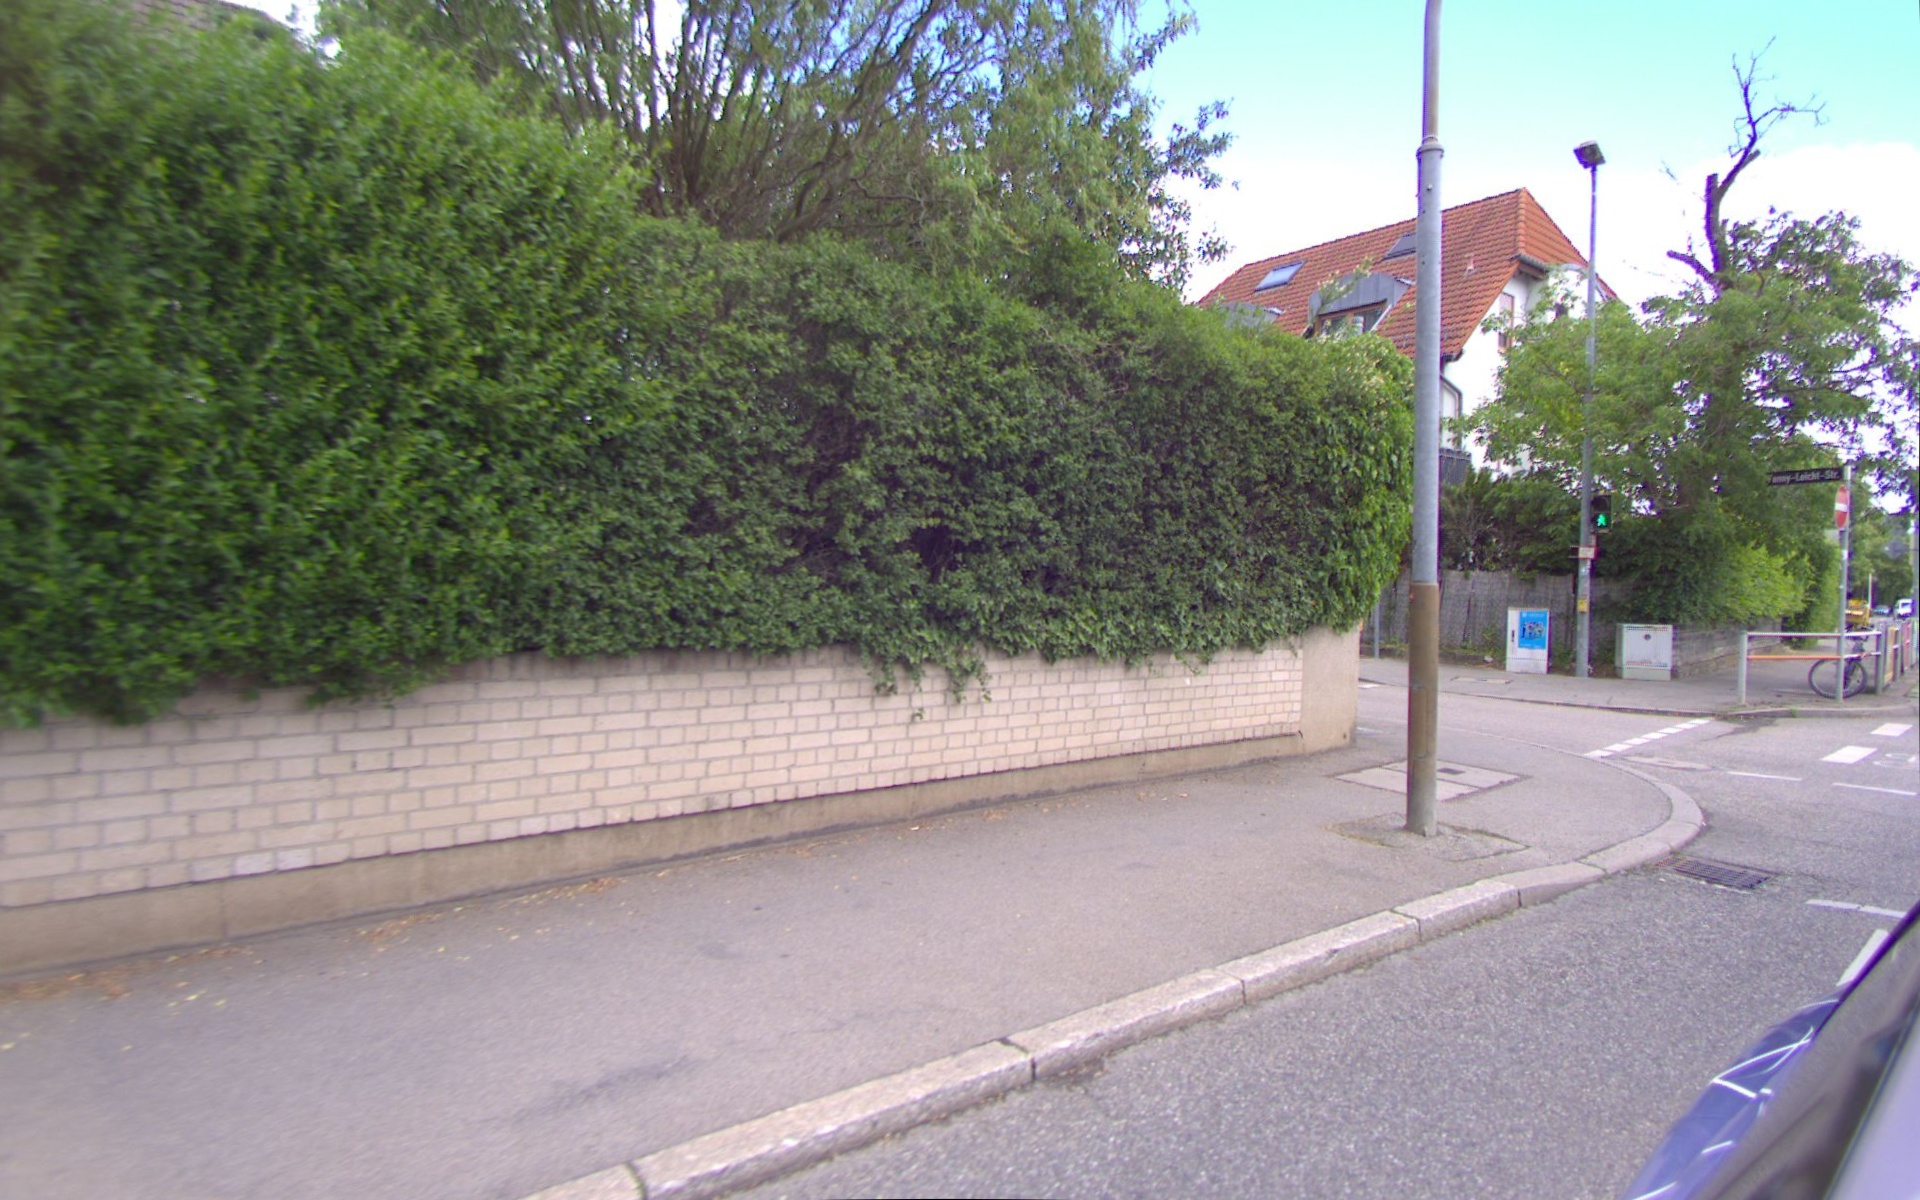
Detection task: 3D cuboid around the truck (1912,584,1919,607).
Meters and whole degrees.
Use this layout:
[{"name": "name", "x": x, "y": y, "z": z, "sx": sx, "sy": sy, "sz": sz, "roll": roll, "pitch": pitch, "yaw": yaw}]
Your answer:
[{"name": "truck", "x": 75.783, "y": -0.357, "z": 79.314, "sx": 1.611, "sy": 1.813, "sz": 3.937, "roll": 2, "pitch": 2, "yaw": 44}]

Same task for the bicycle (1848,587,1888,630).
[{"name": "bicycle", "x": 34.465, "y": 0.295, "z": 38.388, "sx": 0.892, "sy": 1.528, "sz": 2.738, "roll": 6, "pitch": 5, "yaw": 45}]

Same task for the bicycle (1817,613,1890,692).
[{"name": "bicycle", "x": 12.991, "y": 0.737, "z": 14.698, "sx": 1.478, "sy": 1.041, "sz": 0.629, "roll": -1, "pitch": 0, "yaw": -42}]
